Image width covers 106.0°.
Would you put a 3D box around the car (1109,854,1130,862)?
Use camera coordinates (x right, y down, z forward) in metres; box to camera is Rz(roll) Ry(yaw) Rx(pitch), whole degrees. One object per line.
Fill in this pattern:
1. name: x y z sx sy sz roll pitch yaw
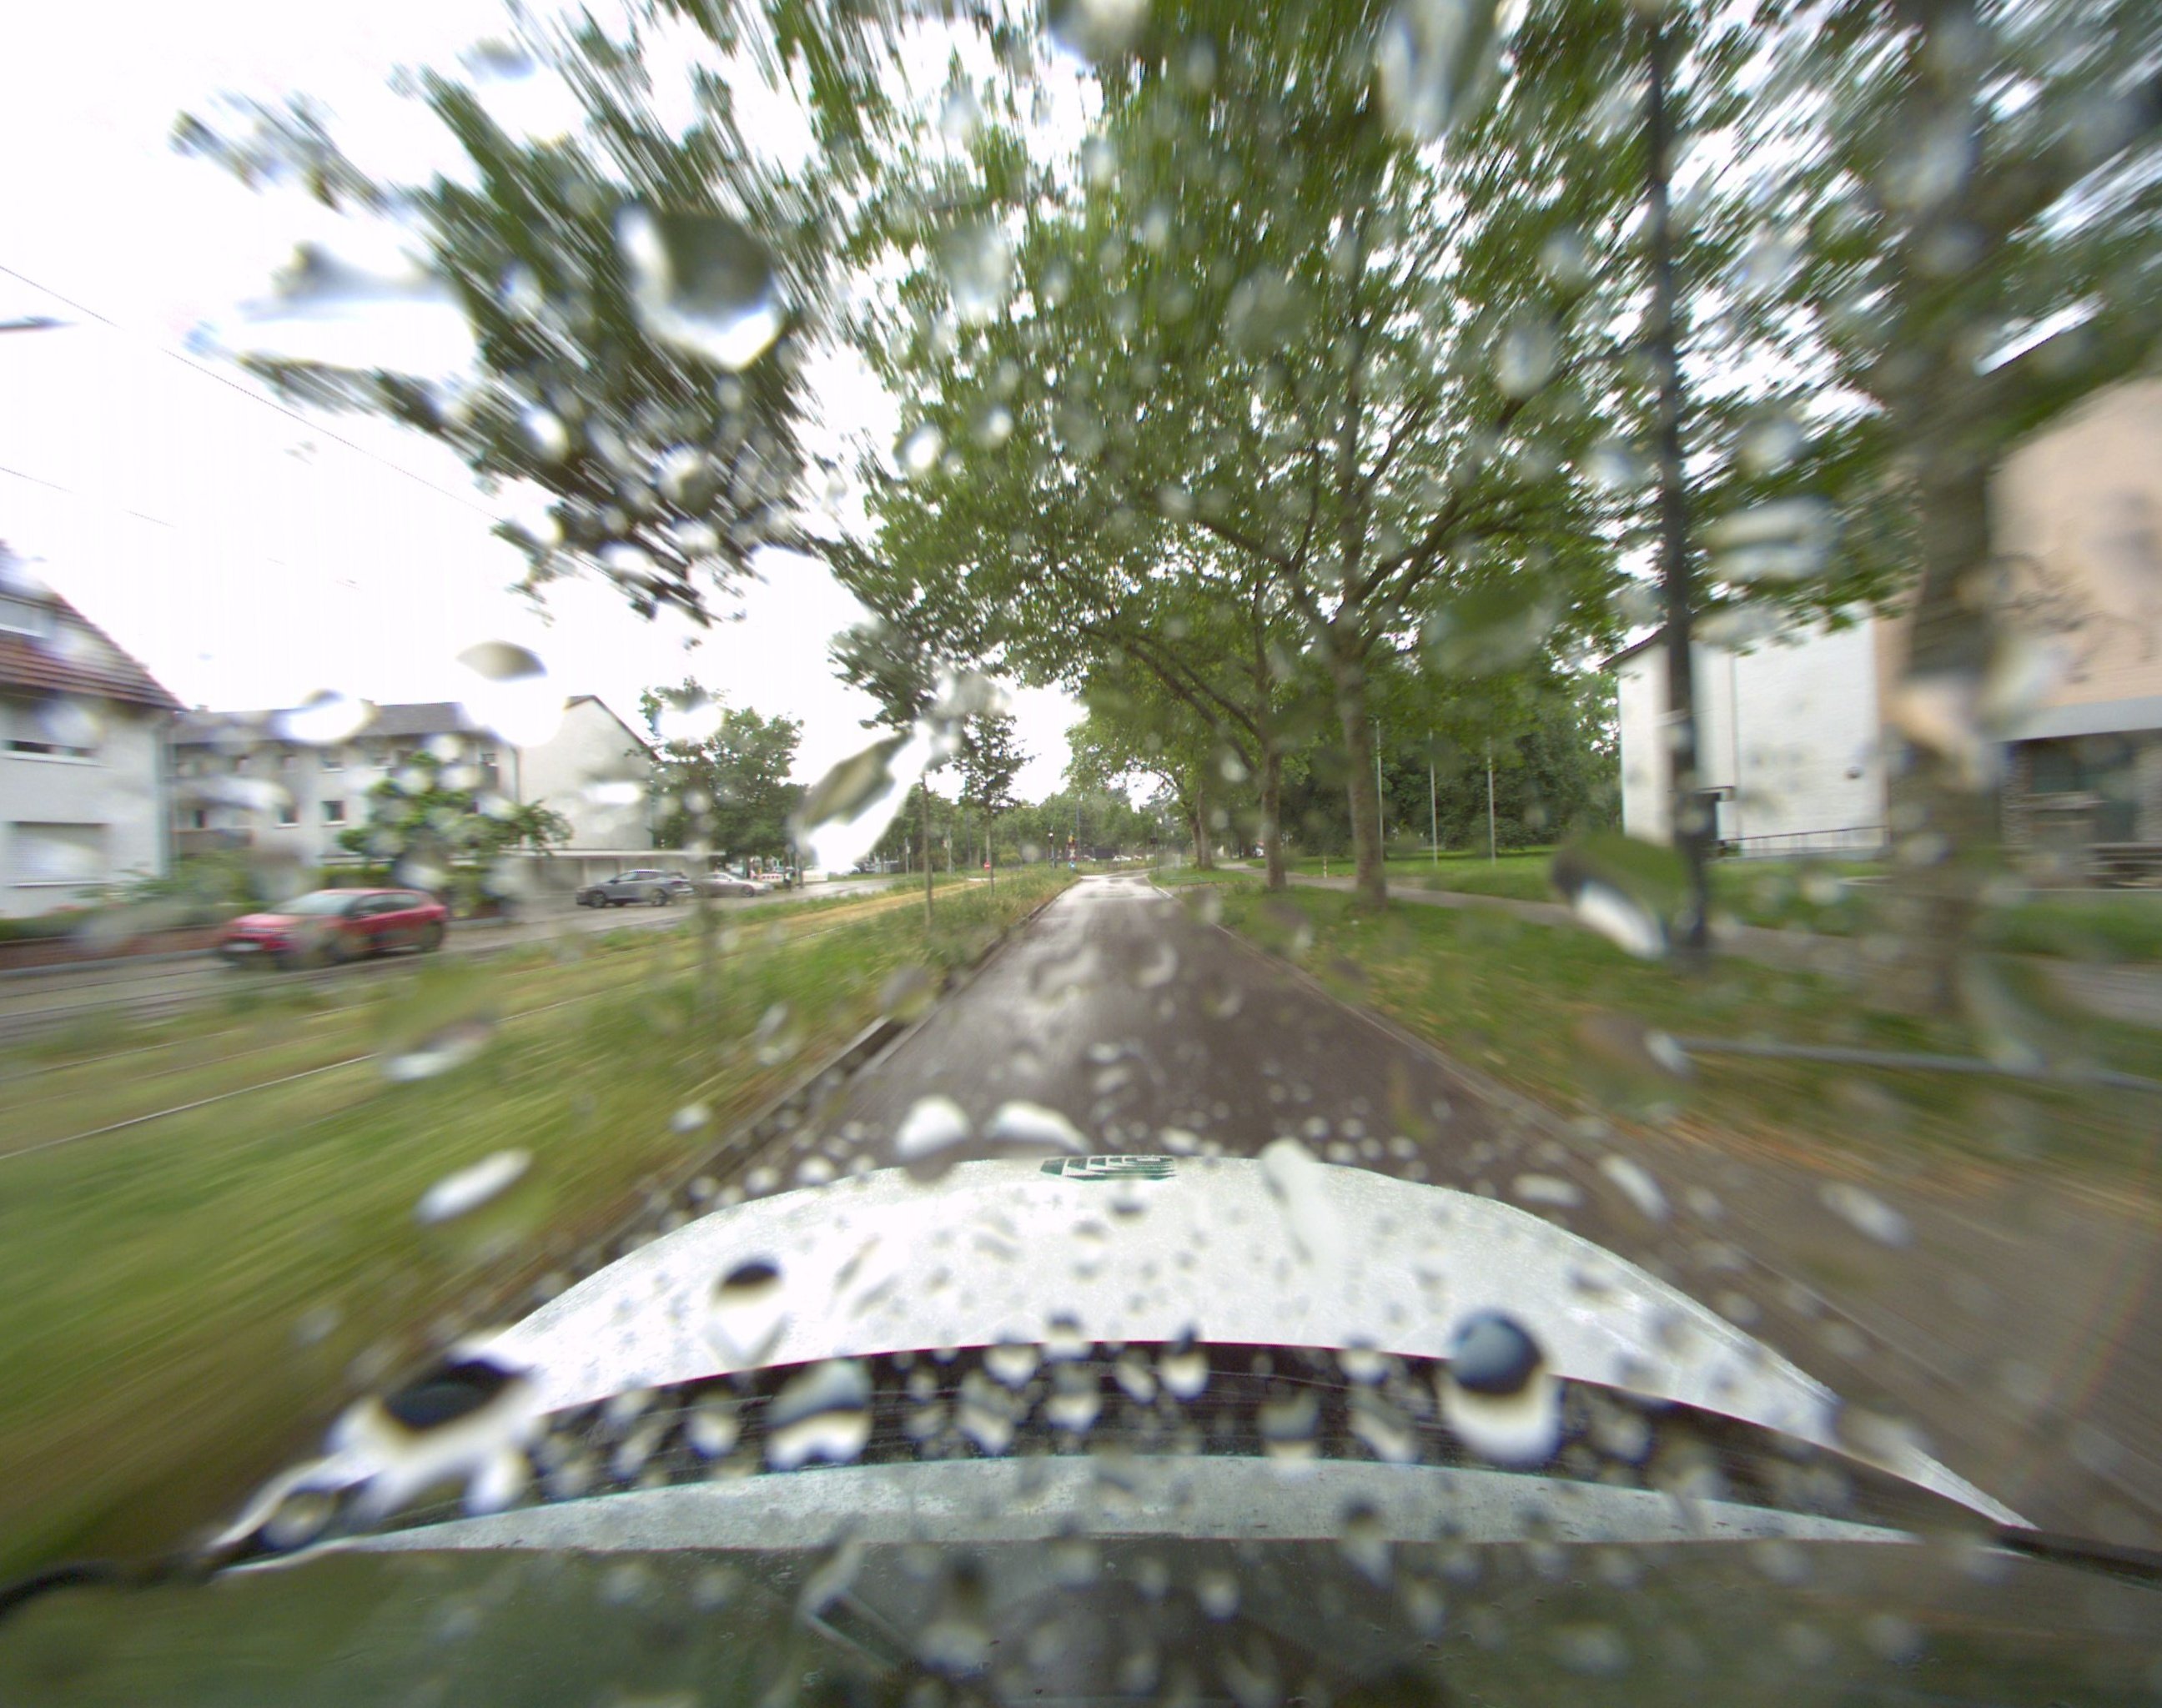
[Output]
1. car: 8.181 0.783 171.704 4.032 1.499 1.660 -3 -1 18

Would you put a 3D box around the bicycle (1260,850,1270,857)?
1. bicycle: 19.888 -0.044 88.087 0.482 0.708 1.467 -3 1 33

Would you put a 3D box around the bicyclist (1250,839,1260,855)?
1. bicyclist: 18.906 -0.734 88.690 0.704 1.721 0.963 -2 1 33

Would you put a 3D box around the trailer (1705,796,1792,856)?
1. trailer: 27.700 -1.174 33.745 4.040 2.308 1.870 -3 0 -38

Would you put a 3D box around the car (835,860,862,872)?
1. car: -26.683 1.361 93.380 1.674 1.249 3.698 -2 0 -39

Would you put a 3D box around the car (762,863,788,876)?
1. car: -33.428 1.729 89.042 1.673 1.249 3.700 -2 0 -37

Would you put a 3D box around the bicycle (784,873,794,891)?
1. bicycle: -17.951 1.715 49.992 0.482 1.019 1.828 1 -1 -22

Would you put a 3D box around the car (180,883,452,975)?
1. car: -15.768 1.468 17.135 1.834 1.547 3.975 0 0 3

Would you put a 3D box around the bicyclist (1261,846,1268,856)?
1. bicyclist: 19.854 -0.373 88.067 0.482 1.038 0.595 -3 1 33

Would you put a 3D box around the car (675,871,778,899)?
1. car: -19.086 1.651 44.011 4.707 1.365 1.849 -1 0 2

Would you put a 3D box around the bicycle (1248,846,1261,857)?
1. bicycle: 18.919 -0.242 88.686 0.704 1.142 1.985 -2 1 33

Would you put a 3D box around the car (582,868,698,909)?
1. car: -19.357 1.490 35.858 3.973 1.576 1.893 -2 0 0
